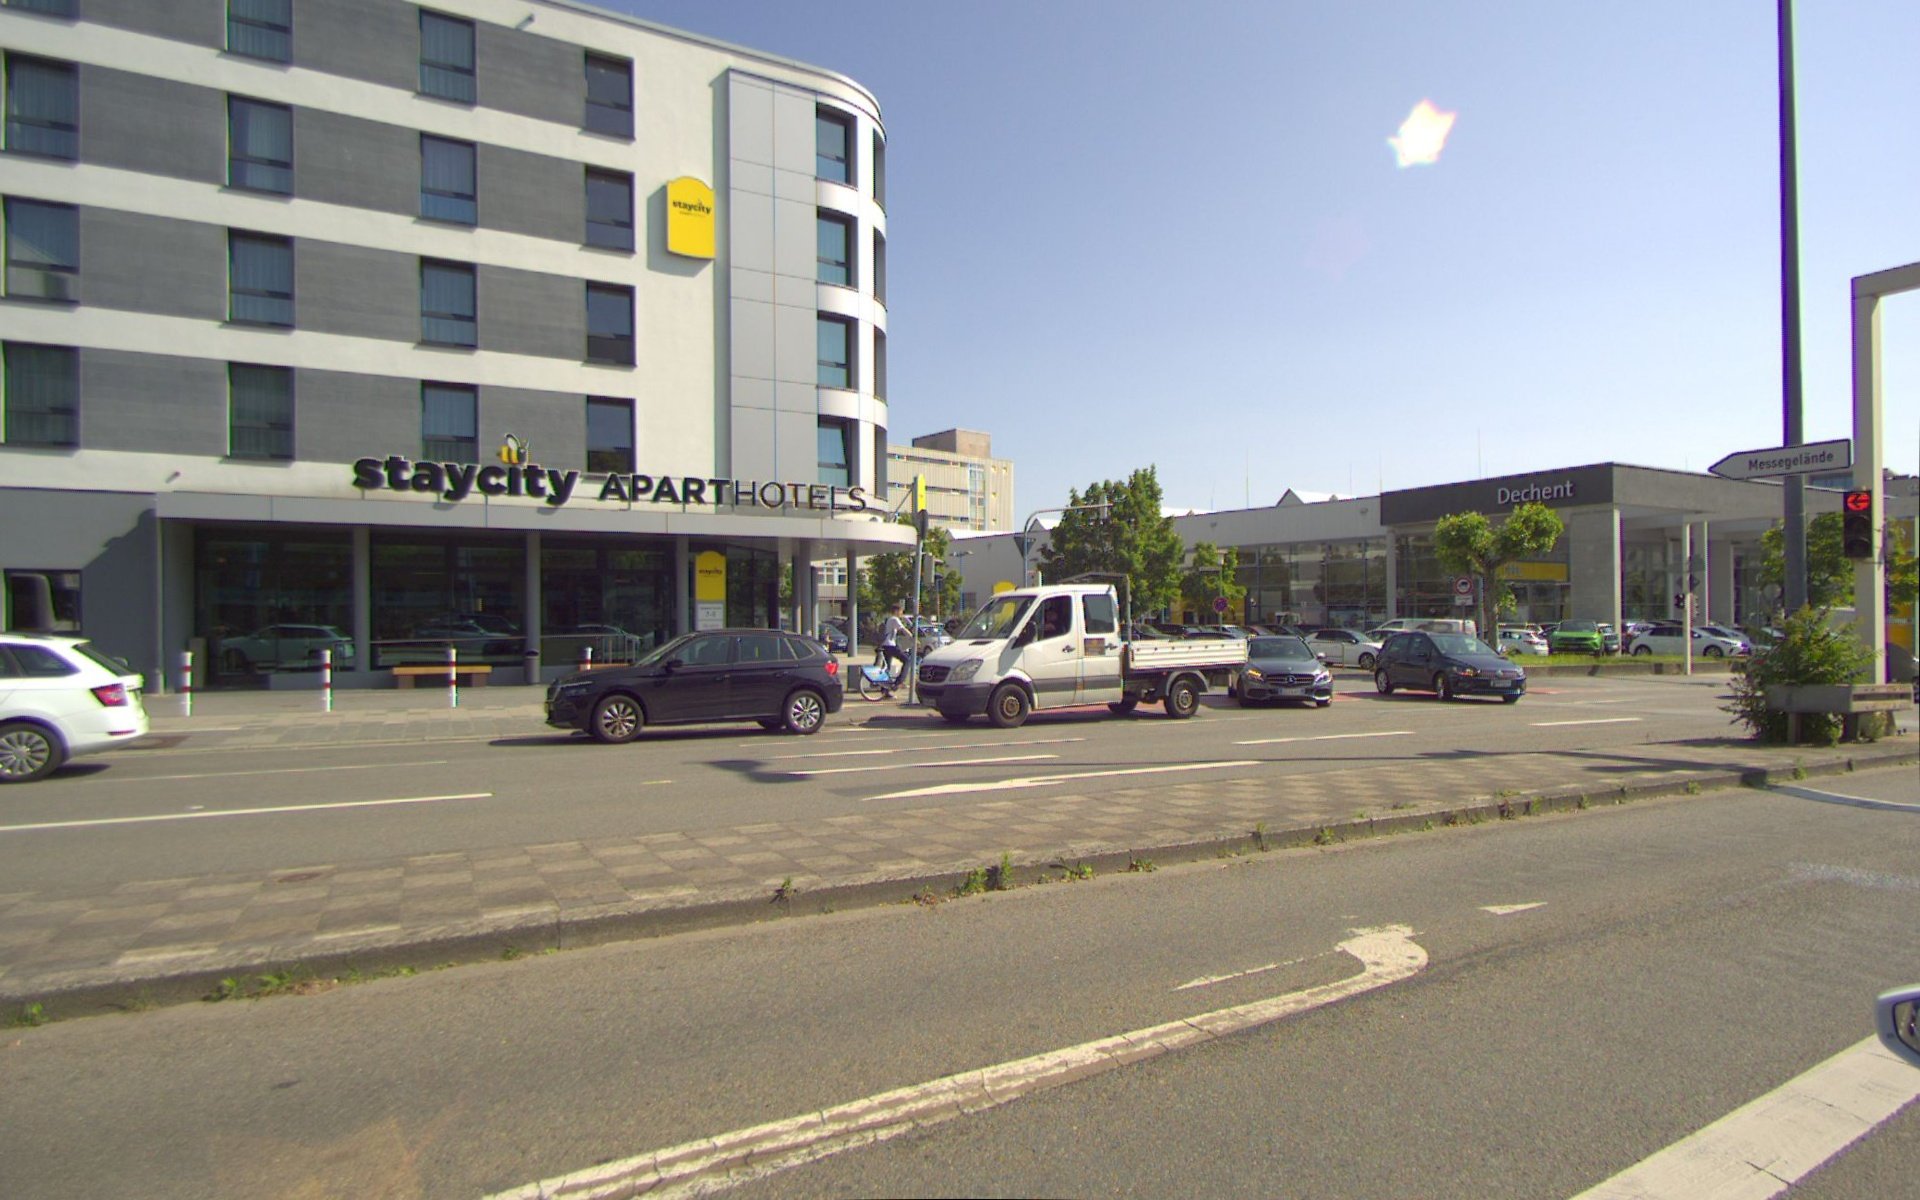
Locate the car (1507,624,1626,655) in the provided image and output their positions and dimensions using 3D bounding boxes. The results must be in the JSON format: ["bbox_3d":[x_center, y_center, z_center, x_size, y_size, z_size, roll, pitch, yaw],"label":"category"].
[{"bbox_3d":[27.861,1.827,46.261,1.982,1.284,4.325,4,-4,-37],"label":"car"}]

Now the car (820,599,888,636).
[{"bbox_3d":[-6.719,1.081,63.426,1.985,2.158,4.565,2,0,-42],"label":"car"}]

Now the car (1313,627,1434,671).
[{"bbox_3d":[17.190,1.988,41.955,1.980,1.719,4.328,1,-2,-35],"label":"car"}]

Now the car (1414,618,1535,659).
[{"bbox_3d":[22.645,1.674,44.339,1.982,1.719,4.323,1,-2,-38],"label":"car"}]

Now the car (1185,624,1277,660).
[{"bbox_3d":[13.821,2.104,51.391,1.980,1.719,4.328,1,-2,-35],"label":"car"}]

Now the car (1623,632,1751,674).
[{"bbox_3d":[30.463,2.197,42.168,1.981,1.620,3.959,1,-2,-36],"label":"car"}]

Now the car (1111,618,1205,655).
[{"bbox_3d":[9.554,1.727,48.784,1.980,1.719,4.328,1,-2,-35],"label":"car"}]

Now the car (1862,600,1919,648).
[{"bbox_3d":[53.233,1.347,55.748,1.973,2.635,4.345,1,-1,-24],"label":"car"}]

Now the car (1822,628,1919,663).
[{"bbox_3d":[47.012,2.286,51.120,1.973,1.719,4.345,1,-1,-24],"label":"car"}]

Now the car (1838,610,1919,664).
[{"bbox_3d":[49.083,1.931,52.386,2.096,2.720,4.490,1,-1,-21],"label":"car"}]

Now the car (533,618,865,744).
[{"bbox_3d":[-3.781,1.135,14.703,4.360,1.598,1.985,1,-4,-30],"label":"car"}]

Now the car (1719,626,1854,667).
[{"bbox_3d":[37.433,2.072,45.589,1.978,1.719,4.333,2,-1,-32],"label":"car"}]

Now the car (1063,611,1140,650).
[{"bbox_3d":[7.751,1.677,55.300,1.983,2.040,3.956,1,-2,-38],"label":"car"}]

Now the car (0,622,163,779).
[{"bbox_3d":[-10.653,0.987,9.792,4.370,1.505,1.980,2,-4,-36],"label":"car"}]

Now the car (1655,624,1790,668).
[{"bbox_3d":[32.853,1.930,43.391,1.978,1.789,4.274,1,-2,-32],"label":"car"}]

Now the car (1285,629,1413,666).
[{"bbox_3d":[15.072,1.805,39.118,1.980,1.317,4.328,1,-2,-35],"label":"car"}]

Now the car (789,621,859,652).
[{"bbox_3d":[-7.138,1.891,52.397,1.979,1.466,4.331,2,-1,-33],"label":"car"}]

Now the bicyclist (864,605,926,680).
[{"bbox_3d":[-1.318,0.860,20.411,1.017,1.479,0.763,1,-1,-36],"label":"bicyclist"}]

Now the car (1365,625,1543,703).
[{"bbox_3d":[11.419,1.432,23.570,1.856,1.639,4.131,1,-1,-6],"label":"car"}]

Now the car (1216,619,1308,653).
[{"bbox_3d":[15.808,1.867,52.689,1.982,1.719,4.324,1,-2,-37],"label":"car"}]

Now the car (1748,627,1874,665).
[{"bbox_3d":[41.572,2.224,49.174,1.978,1.719,4.333,1,-2,-32],"label":"car"}]

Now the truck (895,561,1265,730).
[{"bbox_3d":[2.223,0.777,17.844,6.355,2.579,2.348,1,-2,-28],"label":"truck"}]

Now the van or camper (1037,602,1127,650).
[{"bbox_3d":[6.399,1.374,52.996,1.983,2.432,4.678,1,-2,-38],"label":"van or camper"}]

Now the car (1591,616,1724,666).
[{"bbox_3d":[27.346,1.568,39.489,1.978,1.862,3.849,1,-2,-32],"label":"car"}]

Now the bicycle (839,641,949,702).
[{"bbox_3d":[-1.325,1.421,20.395,2.140,1.131,0.763,0,-1,-35],"label":"bicycle"}]

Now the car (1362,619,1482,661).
[{"bbox_3d":[19.870,1.692,43.315,1.982,1.719,4.323,1,-2,-38],"label":"car"}]

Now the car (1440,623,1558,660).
[{"bbox_3d":[24.547,1.861,45.875,1.982,1.612,4.325,1,-2,-37],"label":"car"}]

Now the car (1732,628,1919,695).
[{"bbox_3d":[20.682,1.408,23.544,3.943,1.349,1.989,2,0,43],"label":"car"}]

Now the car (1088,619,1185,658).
[{"bbox_3d":[8.094,1.744,46.373,1.980,1.719,4.328,1,-2,-35],"label":"car"}]

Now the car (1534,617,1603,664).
[{"bbox_3d":[23.988,1.601,39.713,1.870,1.756,3.293,0,-3,23],"label":"car"}]

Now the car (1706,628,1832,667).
[{"bbox_3d":[38.582,2.219,48.013,1.978,1.719,4.333,1,-2,-32],"label":"car"}]

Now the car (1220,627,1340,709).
[{"bbox_3d":[6.765,1.385,21.632,1.866,1.378,4.002,3,1,10],"label":"car"}]

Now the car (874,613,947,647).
[{"bbox_3d":[-2.954,1.777,59.500,1.971,1.815,4.376,2,0,-42],"label":"car"}]

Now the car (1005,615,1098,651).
[{"bbox_3d":[4.560,1.607,50.242,4.304,1.719,1.991,-1,-2,39],"label":"car"}]

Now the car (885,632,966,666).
[{"bbox_3d":[-1.613,2.222,45.964,1.762,1.457,3.873,1,-2,-38],"label":"car"}]

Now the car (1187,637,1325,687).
[{"bbox_3d":[9.592,1.981,32.756,1.982,1.461,3.958,1,-2,-37],"label":"car"}]
